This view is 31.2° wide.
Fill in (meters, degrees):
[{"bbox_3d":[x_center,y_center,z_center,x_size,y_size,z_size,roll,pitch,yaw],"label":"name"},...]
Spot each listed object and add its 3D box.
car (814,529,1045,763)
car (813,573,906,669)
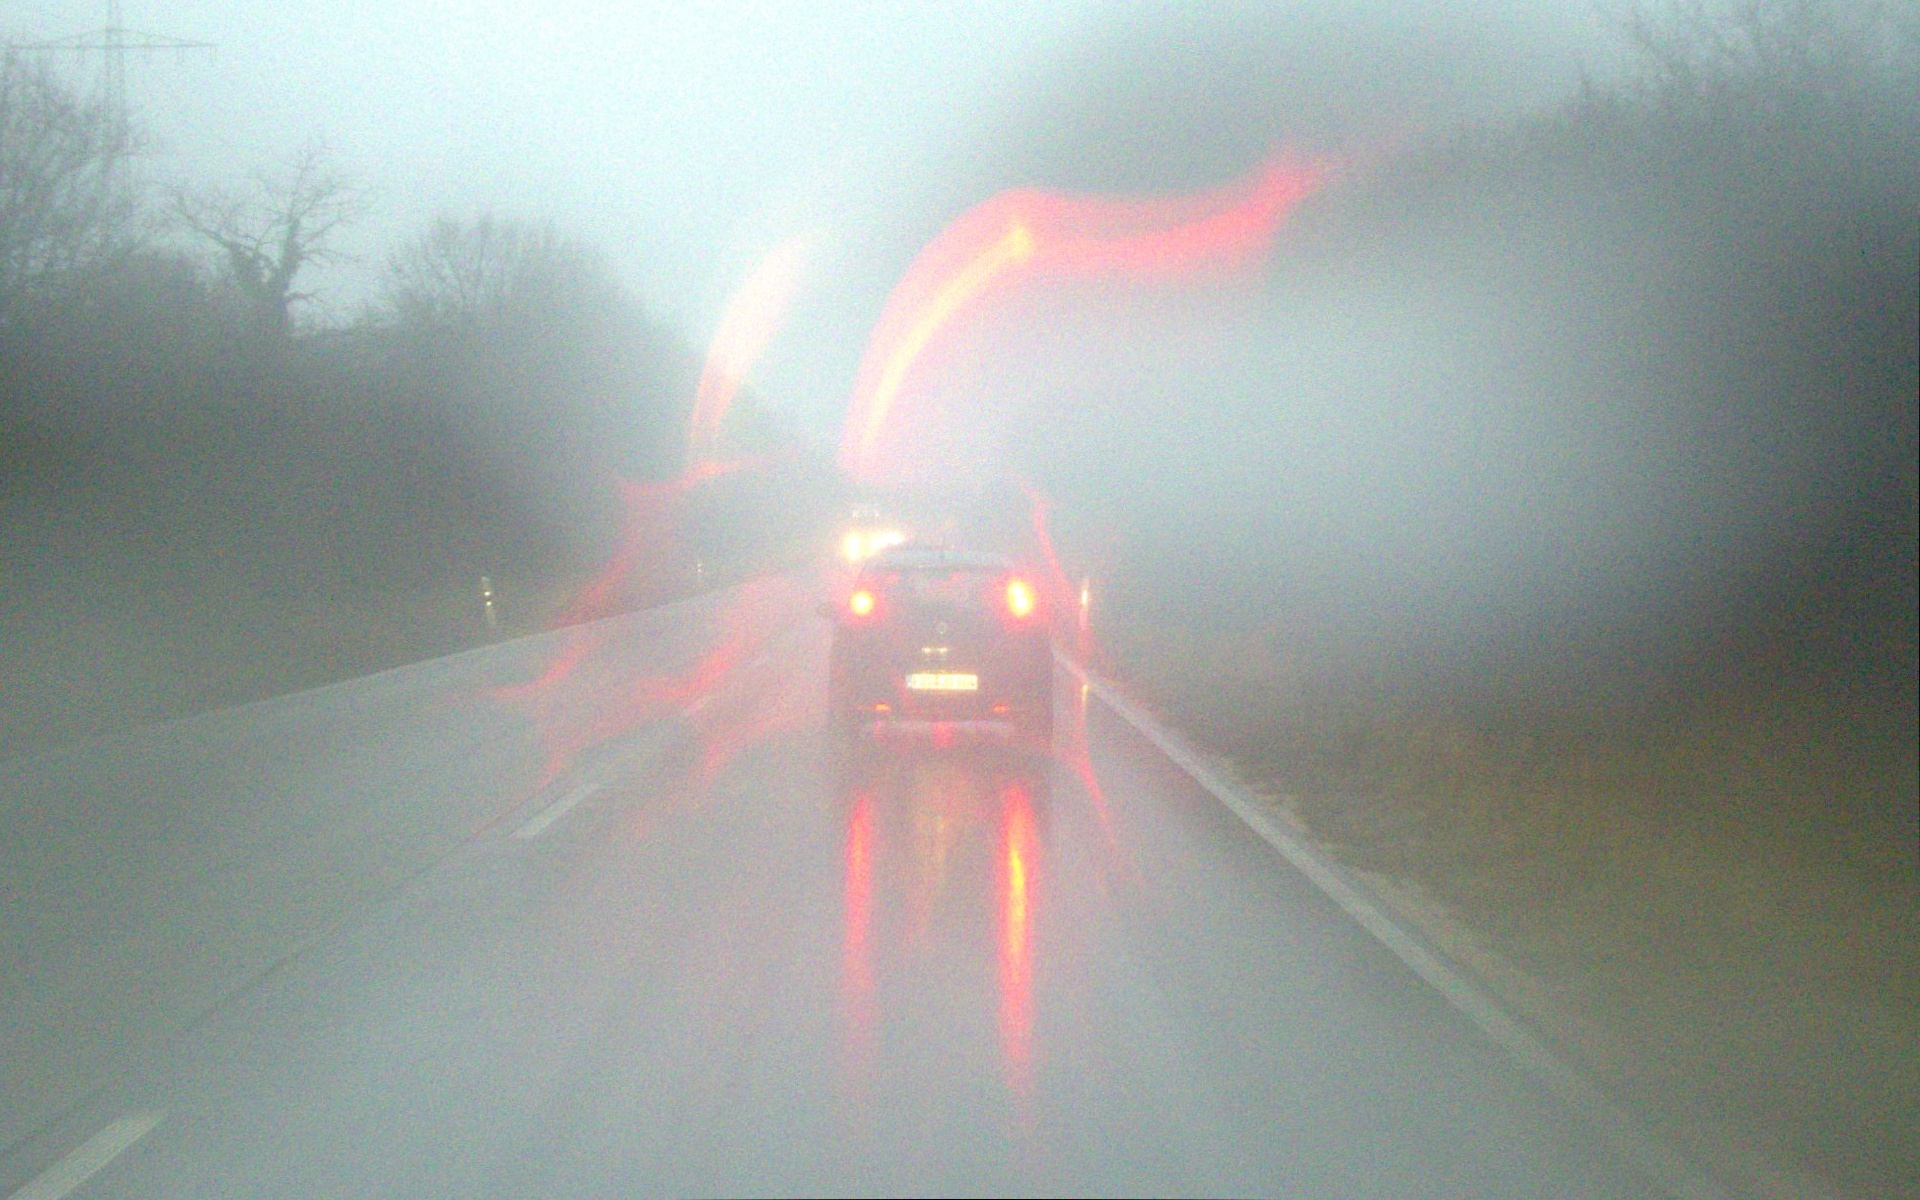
[{"bbox_3d":[-0.239,0.306,26.579,1.648,1.666,3.514,1,1,-1],"label":"car"},{"bbox_3d":[-1.924,0.381,66.784,1.733,1.773,4.000,1,1,-1],"label":"car"}]
